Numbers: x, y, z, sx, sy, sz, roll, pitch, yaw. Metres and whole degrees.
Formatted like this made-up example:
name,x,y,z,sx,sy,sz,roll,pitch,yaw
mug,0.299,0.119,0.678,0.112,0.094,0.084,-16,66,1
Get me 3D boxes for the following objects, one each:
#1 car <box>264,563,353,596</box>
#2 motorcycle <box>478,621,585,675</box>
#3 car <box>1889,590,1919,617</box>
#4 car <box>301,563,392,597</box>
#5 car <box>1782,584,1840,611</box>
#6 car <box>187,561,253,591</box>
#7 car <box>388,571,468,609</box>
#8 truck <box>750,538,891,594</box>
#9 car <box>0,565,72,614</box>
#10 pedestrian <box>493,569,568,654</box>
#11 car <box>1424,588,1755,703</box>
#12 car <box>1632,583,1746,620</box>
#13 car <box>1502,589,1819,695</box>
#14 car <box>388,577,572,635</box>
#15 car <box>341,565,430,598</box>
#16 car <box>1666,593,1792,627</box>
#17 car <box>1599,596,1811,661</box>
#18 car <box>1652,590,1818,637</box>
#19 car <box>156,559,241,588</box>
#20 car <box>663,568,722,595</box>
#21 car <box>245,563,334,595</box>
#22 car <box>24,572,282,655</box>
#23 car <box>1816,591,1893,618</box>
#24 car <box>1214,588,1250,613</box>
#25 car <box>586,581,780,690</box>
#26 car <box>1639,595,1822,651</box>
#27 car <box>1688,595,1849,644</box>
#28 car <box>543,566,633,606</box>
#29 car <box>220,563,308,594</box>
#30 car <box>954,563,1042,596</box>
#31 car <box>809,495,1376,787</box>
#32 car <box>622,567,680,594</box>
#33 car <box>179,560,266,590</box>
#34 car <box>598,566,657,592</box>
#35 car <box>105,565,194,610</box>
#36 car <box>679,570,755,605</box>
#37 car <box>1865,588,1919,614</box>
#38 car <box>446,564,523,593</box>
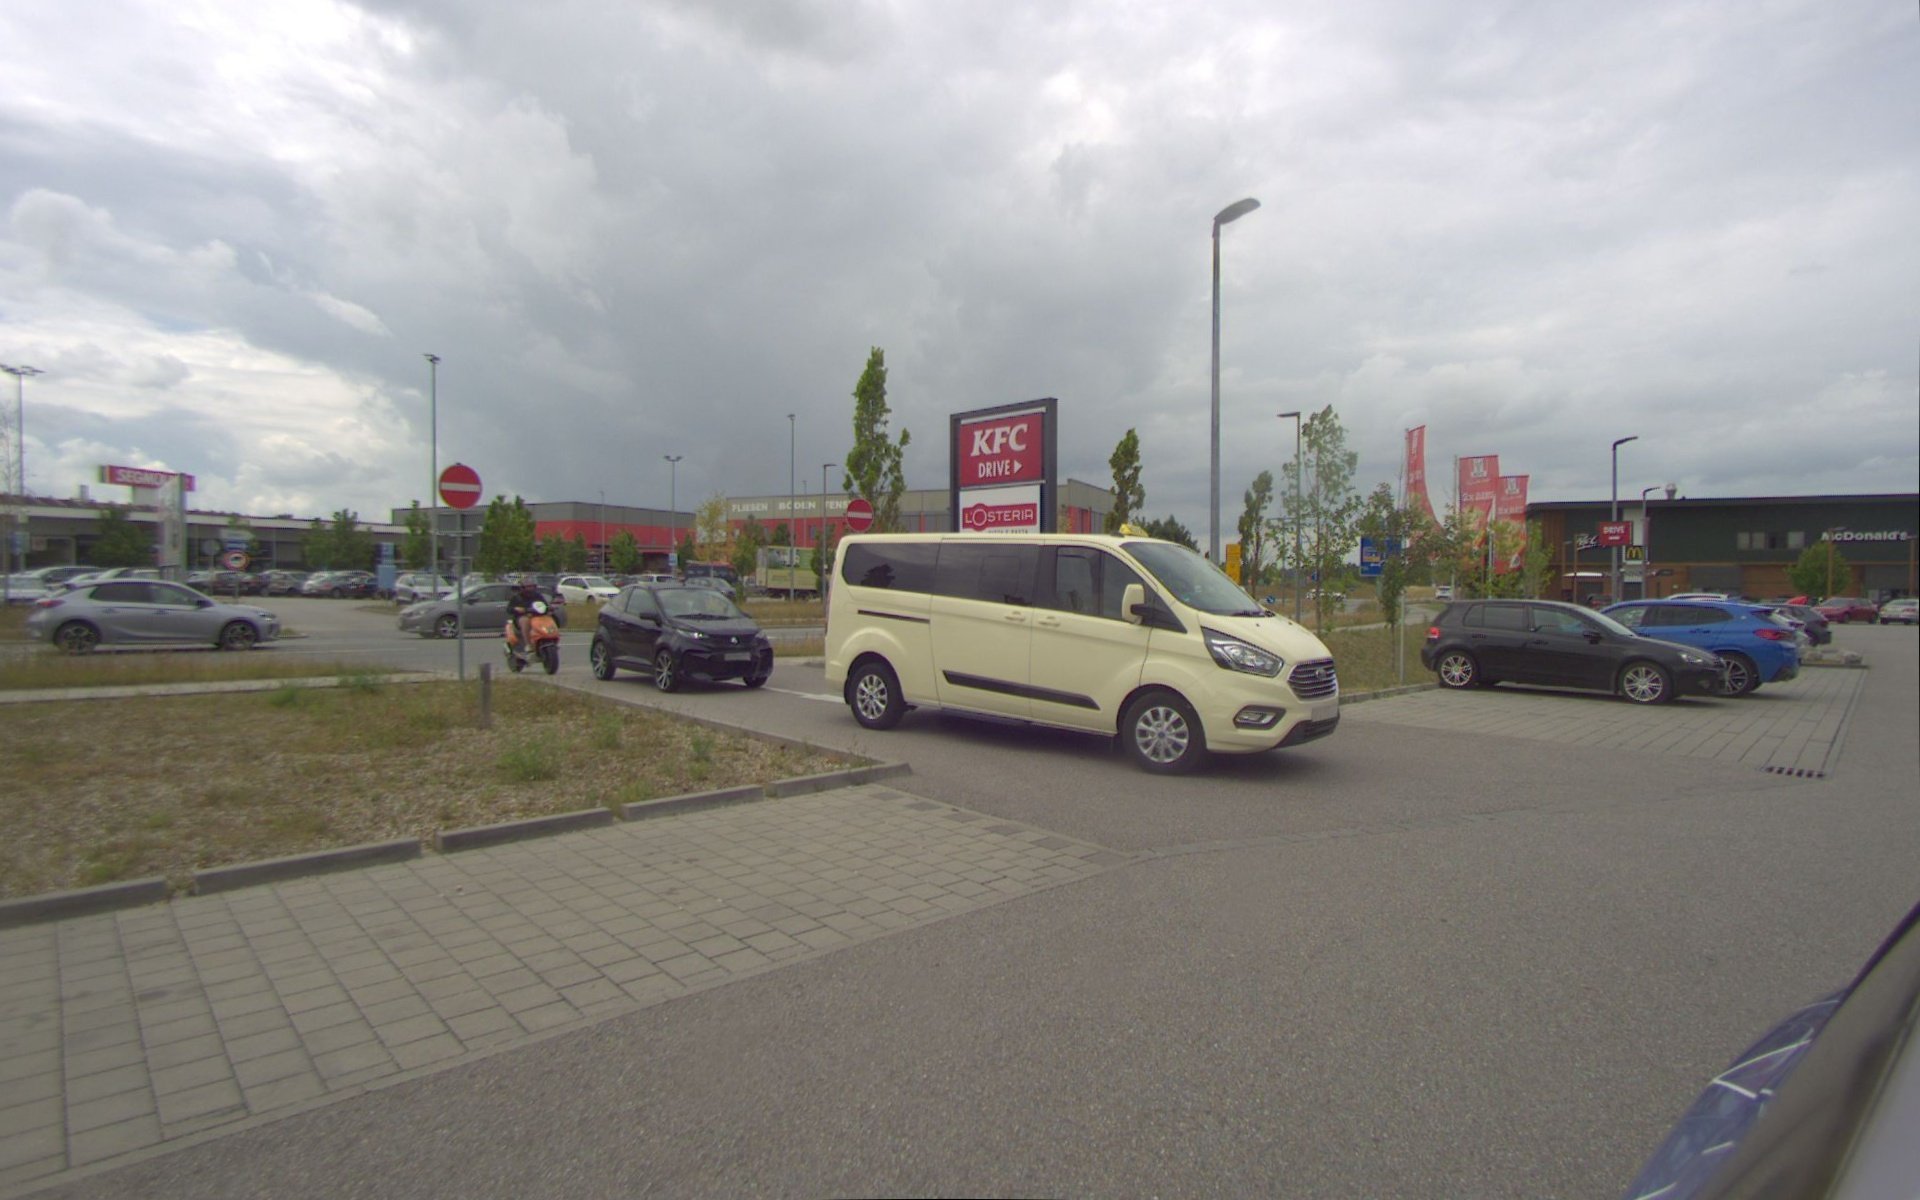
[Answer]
name,x,y,z,sx,sy,sz,roll,pitch,yaw
car,-39.502,-1.247,61.450,1.982,1.860,4.145,2,2,28
motorcycle,-6.826,0.736,16.060,2.019,0.783,0.804,-1,-1,42
car,52.409,0.200,54.756,4.368,1.430,1.756,1,0,-27
car,-36.152,-1.168,59.740,1.982,1.860,4.145,2,2,28
car,62.404,-0.176,74.236,3.920,1.771,2.003,2,1,-30
car,-41.589,-1.376,56.841,4.140,1.558,1.972,3,2,39
car,-23.696,-0.468,45.032,4.035,1.558,1.747,3,2,39
truck,-8.757,-2.088,63.755,8.258,3.235,3.035,1,2,-26
car,-33.232,-0.412,35.762,4.031,1.558,1.974,3,2,36
pedestrian,-6.808,0.188,16.048,0.896,1.298,0.793,-1,-2,44
car,9.667,0.603,15.774,1.746,1.478,4.066,1,1,-43
car,36.360,0.104,50.640,4.331,1.735,1.973,-1,0,28
car,11.806,0.606,17.245,1.834,1.564,4.204,0,1,-45
car,-13.399,0.172,28.451,4.377,1.510,1.615,1,-1,-45
car,-33.529,-1.078,59.152,1.982,1.860,4.145,2,2,28
car,33.228,0.436,43.875,4.032,1.430,1.870,-1,0,28
car,18.088,0.651,24.675,3.985,1.446,1.701,-1,0,43
car,27.334,0.474,35.916,4.515,1.560,1.902,-1,0,35
car,-50.785,-1.738,67.560,1.982,1.860,4.145,2,2,28
car,-19.032,-1.340,72.266,1.977,1.793,4.111,2,2,22
car,-41.518,-1.318,62.732,1.982,1.860,4.145,2,2,28
car,-16.275,0.215,20.516,3.935,1.477,1.825,0,2,-45
car,49.663,0.250,56.191,3.916,1.483,1.690,1,0,-22
car,20.257,0.013,75.230,1.979,1.726,3.968,2,3,24
car,-3.990,0.423,14.329,1.441,1.353,3.158,0,1,-41
car,21.317,0.618,28.098,3.921,1.430,1.813,-1,0,40
car,24.868,0.601,31.310,3.785,1.430,1.715,-1,0,37
car,-18.708,-0.724,50.852,4.287,1.793,1.978,3,2,31
car,-43.800,-1.335,63.801,1.982,1.860,4.145,2,2,28
car,2.931,-1.605,78.671,6.436,2.295,2.327,2,2,24
car,1.015,0.238,9.786,5.208,2.112,1.971,2,1,41
car,-22.370,-1.424,73.394,1.977,1.793,3.971,2,2,22
car,-48.180,-1.621,66.163,1.982,1.860,4.145,2,2,28
car,-24.475,-1.530,74.542,1.978,1.793,3.968,2,2,24
car,-30.693,-0.494,38.306,3.741,1.558,1.750,3,2,36
car,-13.576,-0.730,56.433,4.300,1.793,1.904,3,2,39
car,69.621,0.042,75.567,1.732,1.775,3.972,2,2,21
car,-31.165,-1.438,66.470,1.981,1.793,4.281,2,2,27
